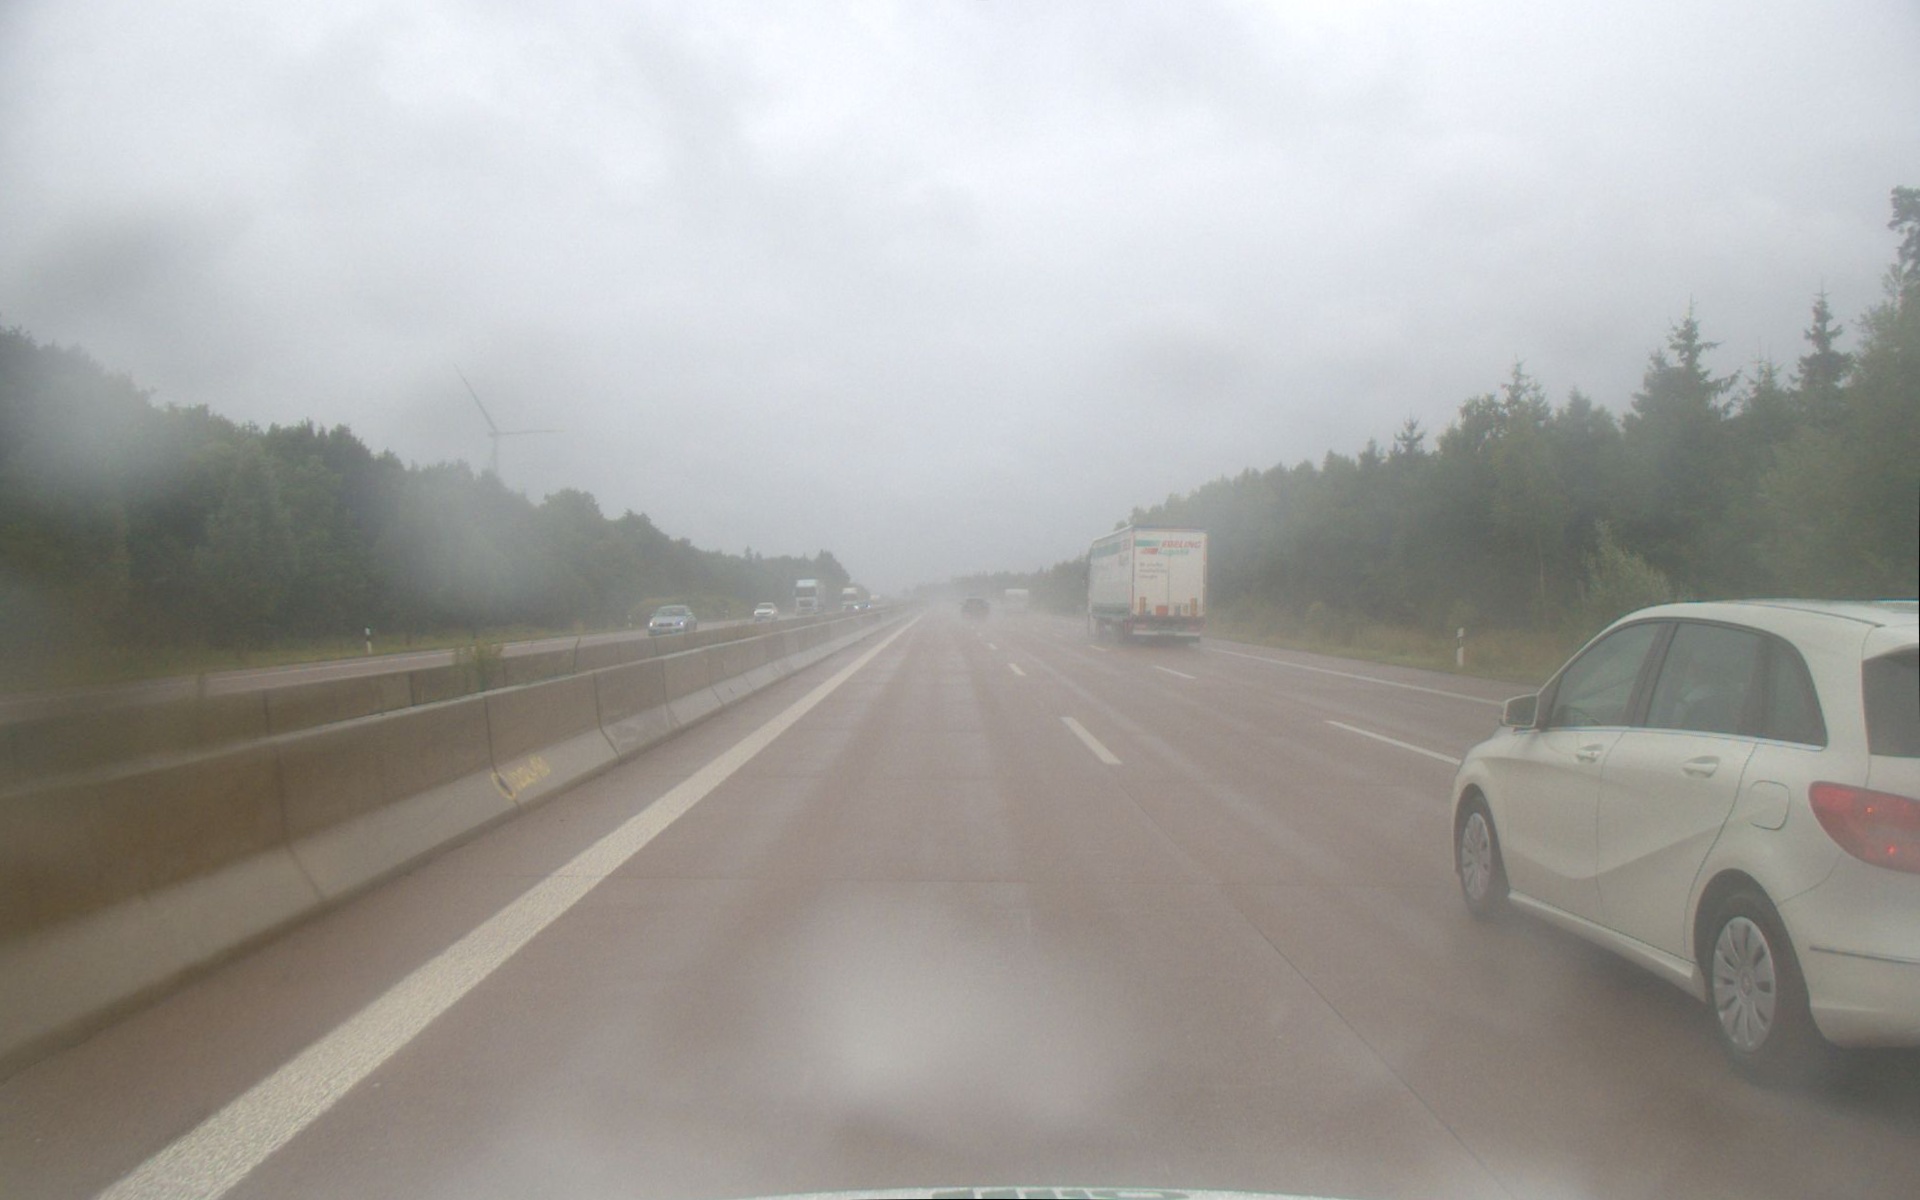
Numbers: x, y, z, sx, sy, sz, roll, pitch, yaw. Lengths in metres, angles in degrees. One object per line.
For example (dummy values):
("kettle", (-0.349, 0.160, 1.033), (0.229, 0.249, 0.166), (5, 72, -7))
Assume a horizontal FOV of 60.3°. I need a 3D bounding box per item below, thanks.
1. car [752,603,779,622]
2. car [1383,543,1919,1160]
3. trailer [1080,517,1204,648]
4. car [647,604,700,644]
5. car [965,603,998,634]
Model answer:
("car", (-16.260, 1.039, 138.654), (1.718, 1.506, 4.582), (-3, 0, -1))
("car", (3.370, 0.739, 7.124), (1.771, 1.758, 4.742), (1, 0, -1))
("trailer", (6.531, -0.652, 61.585), (2.795, 4.305, 13.128), (-1, 0, -1))
("car", (-12.983, 1.066, 75.132), (1.772, 1.660, 4.503), (-2, 0, -3))
("car", (1.449, 1.266, 113.466), (2.129, 2.016, 4.129), (1, 0, 0))
